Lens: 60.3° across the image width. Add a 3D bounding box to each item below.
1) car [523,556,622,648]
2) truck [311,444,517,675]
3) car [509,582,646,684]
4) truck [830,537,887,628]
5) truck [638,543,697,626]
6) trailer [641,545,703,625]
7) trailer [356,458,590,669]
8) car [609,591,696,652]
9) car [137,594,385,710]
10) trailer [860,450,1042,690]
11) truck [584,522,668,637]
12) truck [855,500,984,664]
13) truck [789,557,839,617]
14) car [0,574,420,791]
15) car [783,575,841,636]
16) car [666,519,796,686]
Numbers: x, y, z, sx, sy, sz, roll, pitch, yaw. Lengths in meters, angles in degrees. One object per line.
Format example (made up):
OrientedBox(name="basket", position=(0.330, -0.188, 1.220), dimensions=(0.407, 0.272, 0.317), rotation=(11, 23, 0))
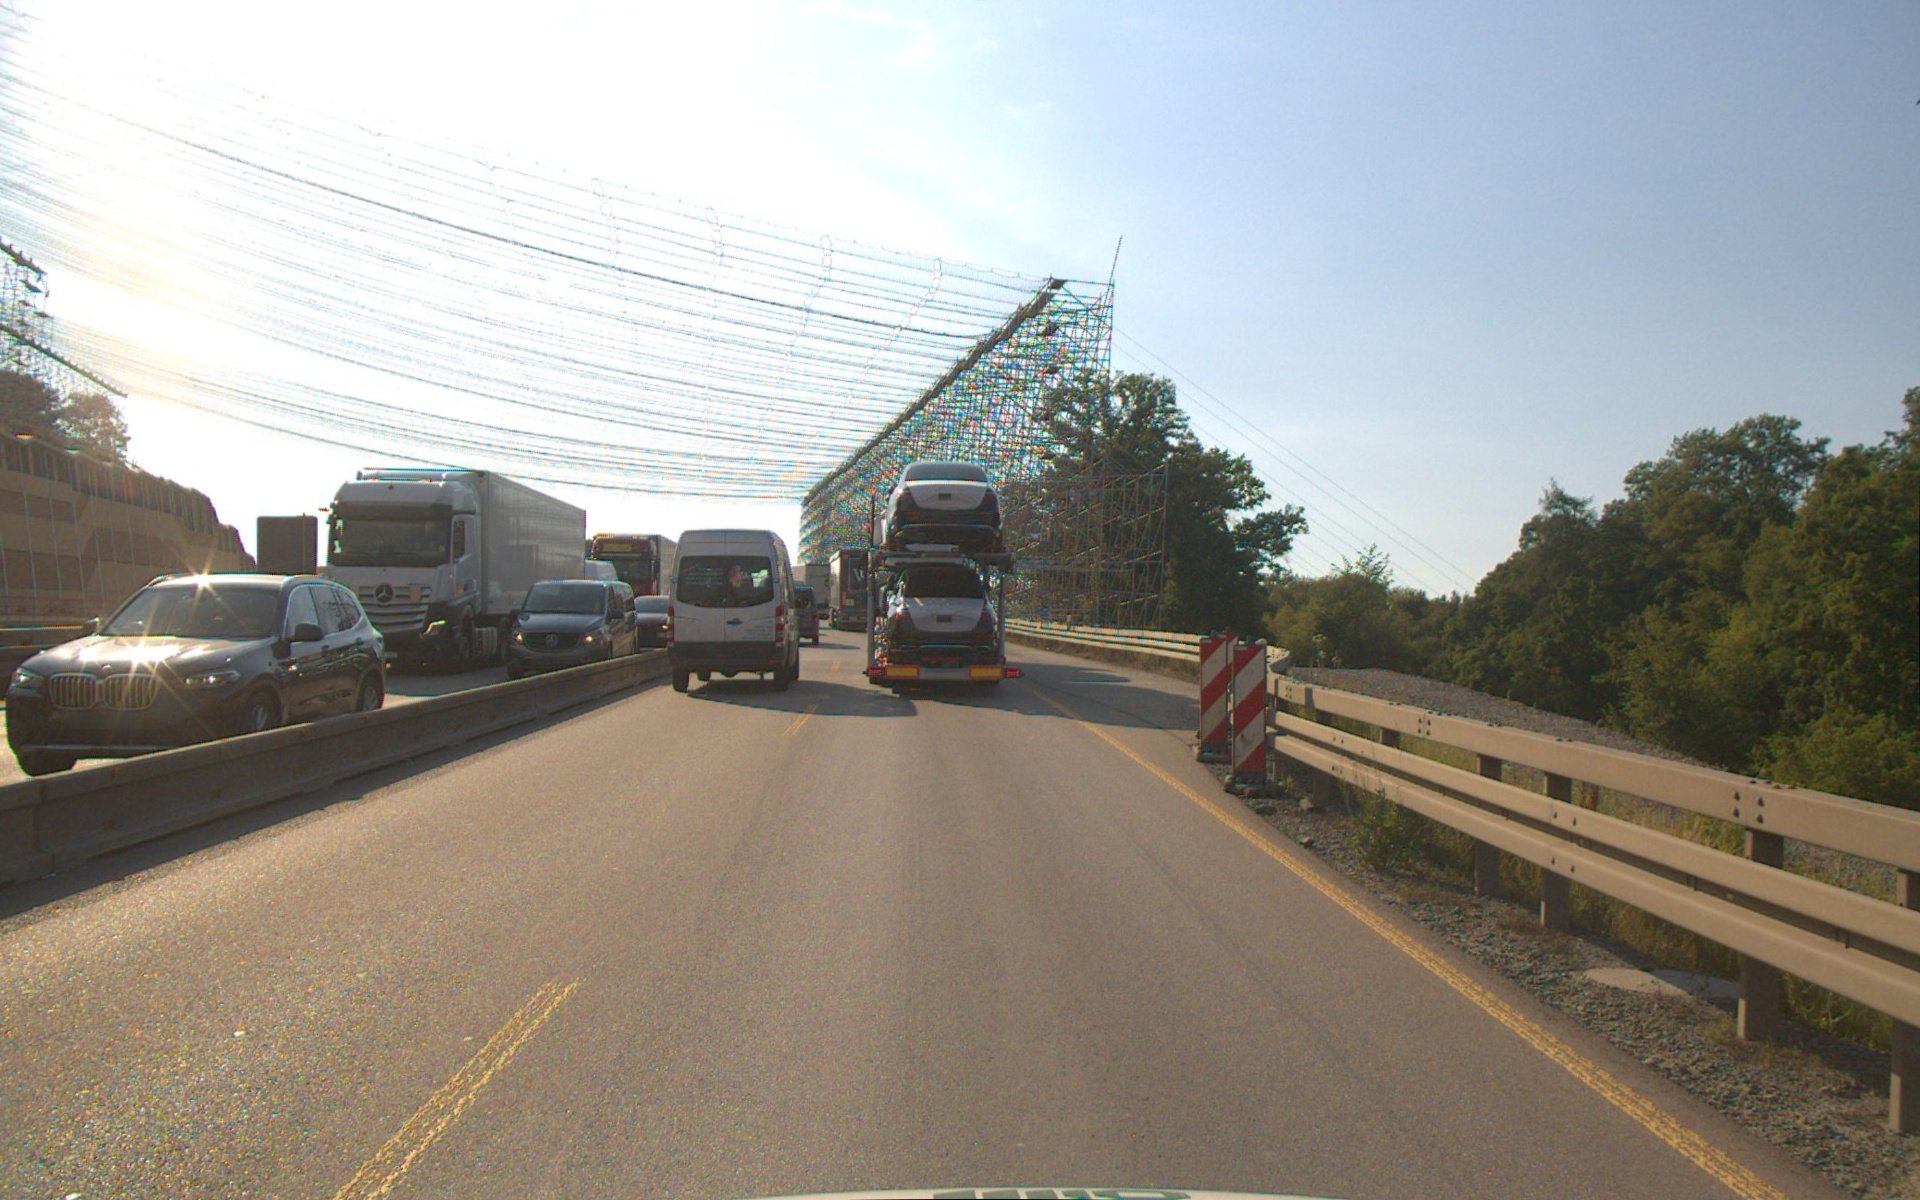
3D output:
OrientedBox(name="car", position=(-12.484, 0.012, 53.727), dimensions=(1.982, 2.737, 6.944), rotation=(2, 1, -4))
OrientedBox(name="truck", position=(-10.950, -0.746, 33.755), dimensions=(2.659, 4.292, 5.677), rotation=(1, 0, -5))
OrientedBox(name="car", position=(-7.518, 0.577, 33.004), dimensions=(1.769, 1.803, 5.449), rotation=(1, 1, -4))
OrientedBox(name="truck", position=(-5.332, -0.892, 87.940), dimensions=(2.677, 4.462, 11.514), rotation=(2, 0, -3))
OrientedBox(name="truck", position=(-15.467, -0.788, 87.821), dimensions=(2.734, 4.214, 5.924), rotation=(1, 0, -7))
OrientedBox(name="trailer", position=(-16.240, -0.778, 94.147), dimensions=(2.746, 4.214, 13.944), rotation=(1, 0, -7))
OrientedBox(name="trailer", position=(-11.484, -0.723, 40.693), dimensions=(2.667, 4.292, 13.735), rotation=(1, 0, -4))
OrientedBox(name="car", position=(-8.802, 0.579, 47.695), dimensions=(1.850, 1.595, 4.453), rotation=(2, 1, -3))
OrientedBox(name="car", position=(-9.854, 0.687, 23.749), dimensions=(1.708, 1.486, 4.711), rotation=(0, 0, -2))
OrientedBox(name="trailer", position=(-0.586, -0.445, 33.742), dimensions=(2.812, 3.790, 14.935), rotation=(1, 0, -4))
OrientedBox(name="truck", position=(-13.307, -0.775, 66.309), dimensions=(2.692, 4.375, 5.926), rotation=(1, 0, -6))
OrientedBox(name="truck", position=(-1.168, -0.396, 41.938), dimensions=(2.825, 3.767, 7.318), rotation=(1, 0, -5))
OrientedBox(name="truck", position=(-11.532, -1.044, 130.625), dimensions=(3.615, 4.294, 13.654), rotation=(-2, 1, -5))
OrientedBox(name="car", position=(-6.548, 0.592, 15.064), dimensions=(1.780, 1.606, 4.754), rotation=(-1, 1, -2))
OrientedBox(name="car", position=(-5.276, 0.208, 59.150), dimensions=(1.955, 2.049, 3.995), rotation=(1, -1, -5))
OrientedBox(name="car", position=(-3.871, 0.059, 28.520), dimensions=(1.918, 2.667, 3.997), rotation=(0, -1, -4))
